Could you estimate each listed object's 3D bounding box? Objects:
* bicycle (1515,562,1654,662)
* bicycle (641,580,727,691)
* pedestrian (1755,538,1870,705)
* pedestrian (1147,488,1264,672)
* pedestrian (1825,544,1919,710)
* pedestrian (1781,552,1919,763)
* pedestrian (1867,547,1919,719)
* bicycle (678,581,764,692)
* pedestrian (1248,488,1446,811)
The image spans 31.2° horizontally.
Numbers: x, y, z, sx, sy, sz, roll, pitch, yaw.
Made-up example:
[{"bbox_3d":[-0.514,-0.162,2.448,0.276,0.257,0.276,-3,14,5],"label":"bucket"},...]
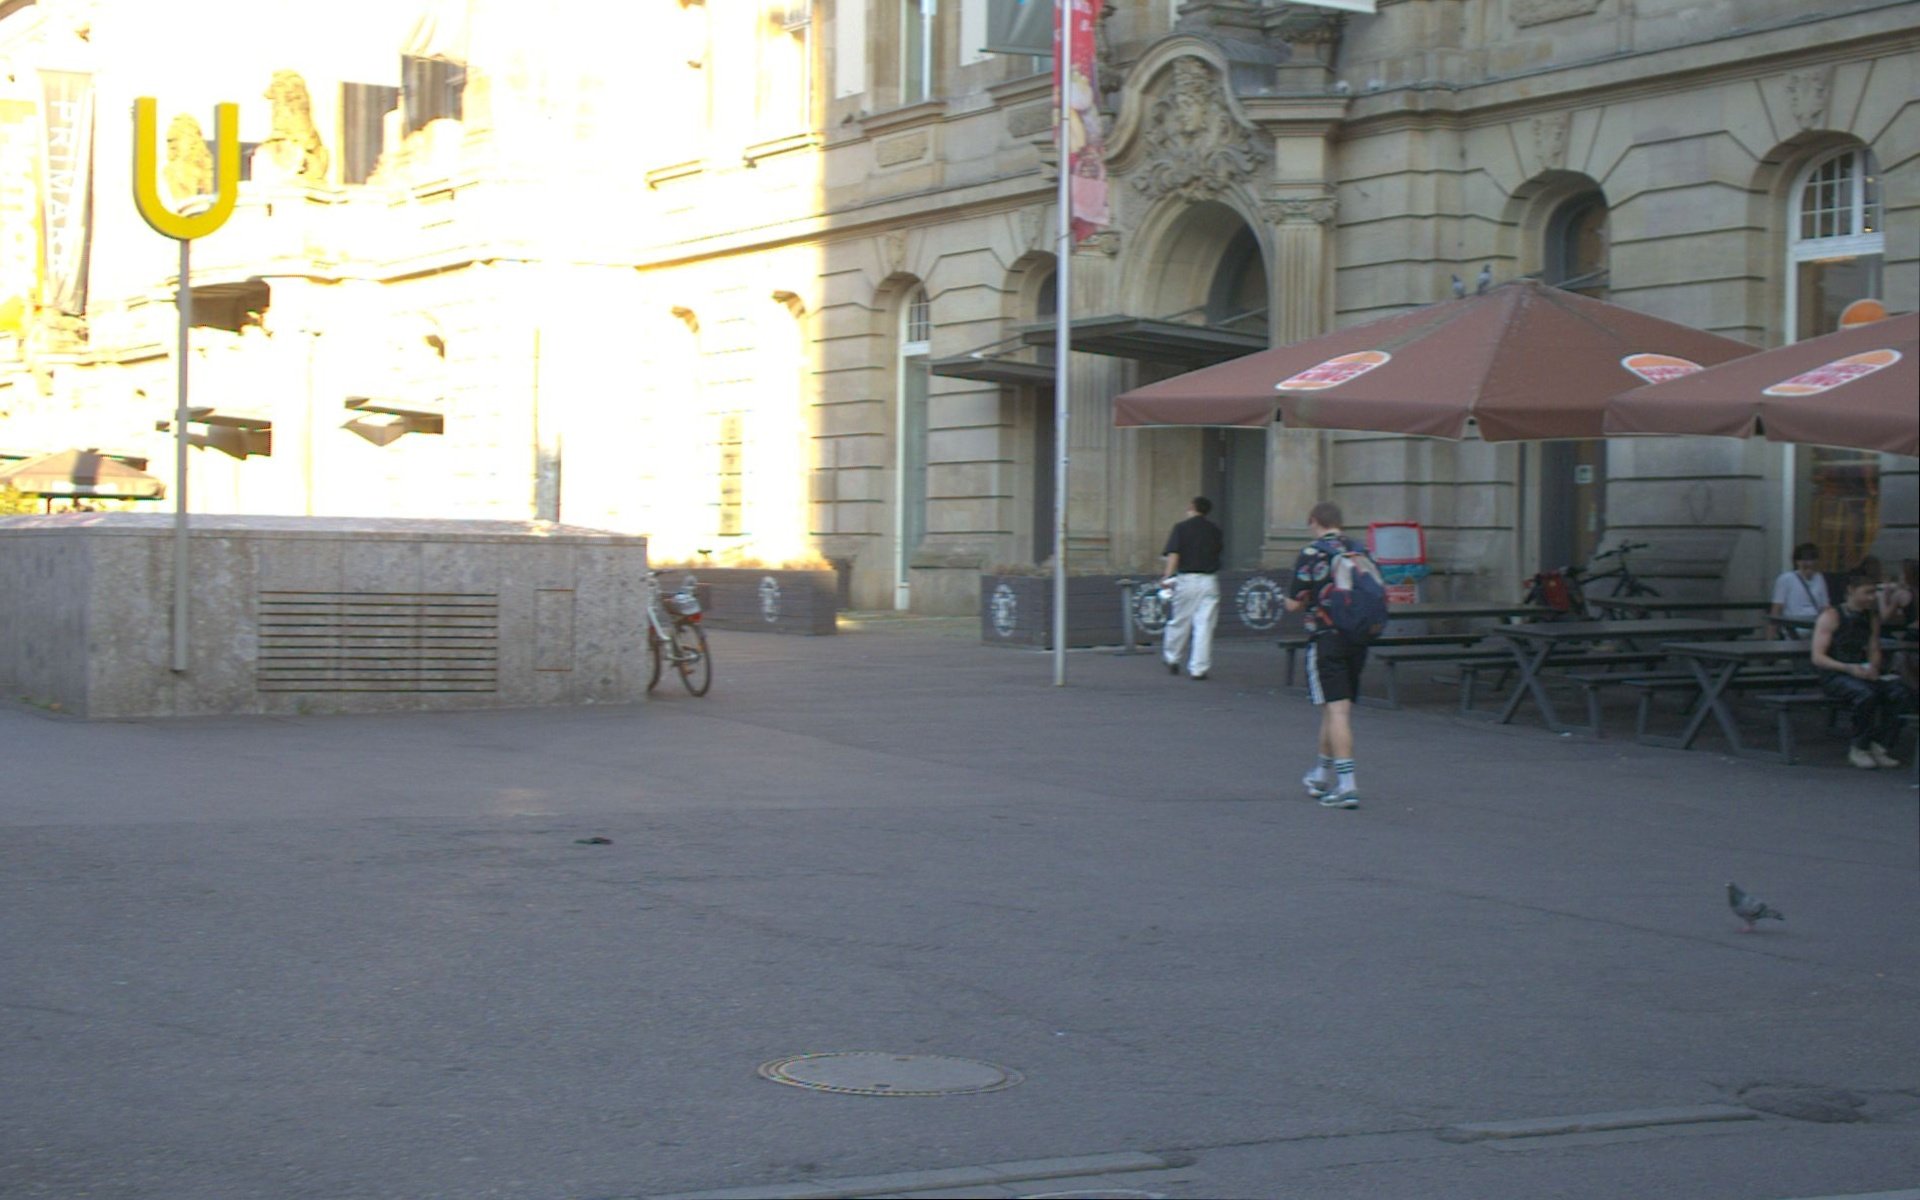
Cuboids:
[{"bbox_3d":[5.770,0.104,31.754,1.318,0.891,0.410,0,2,-32],"label":"bicycle"},{"bbox_3d":[-2.232,0.280,27.744,0.315,0.864,1.000,-1,1,-29],"label":"bicycle"},{"bbox_3d":[6.887,0.171,27.770,0.592,1.304,0.582,1,3,-32],"label":"pedestrian"},{"bbox_3d":[2.136,-0.183,29.955,0.847,1.560,0.850,1,2,-5],"label":"pedestrian"},{"bbox_3d":[7.509,0.217,27.994,0.592,1.304,0.582,1,3,-29],"label":"pedestrian"},{"bbox_3d":[6.161,0.388,23.435,0.803,1.378,0.653,2,3,-17],"label":"pedestrian"},{"bbox_3d":[7.551,0.258,26.785,0.607,1.304,0.609,1,3,-32],"label":"pedestrian"},{"bbox_3d":[-1.944,0.287,27.896,0.315,0.864,1.000,-1,1,-29],"label":"bicycle"},{"bbox_3d":[2.233,0.268,19.888,0.808,1.817,0.806,0,2,-23],"label":"pedestrian"}]
